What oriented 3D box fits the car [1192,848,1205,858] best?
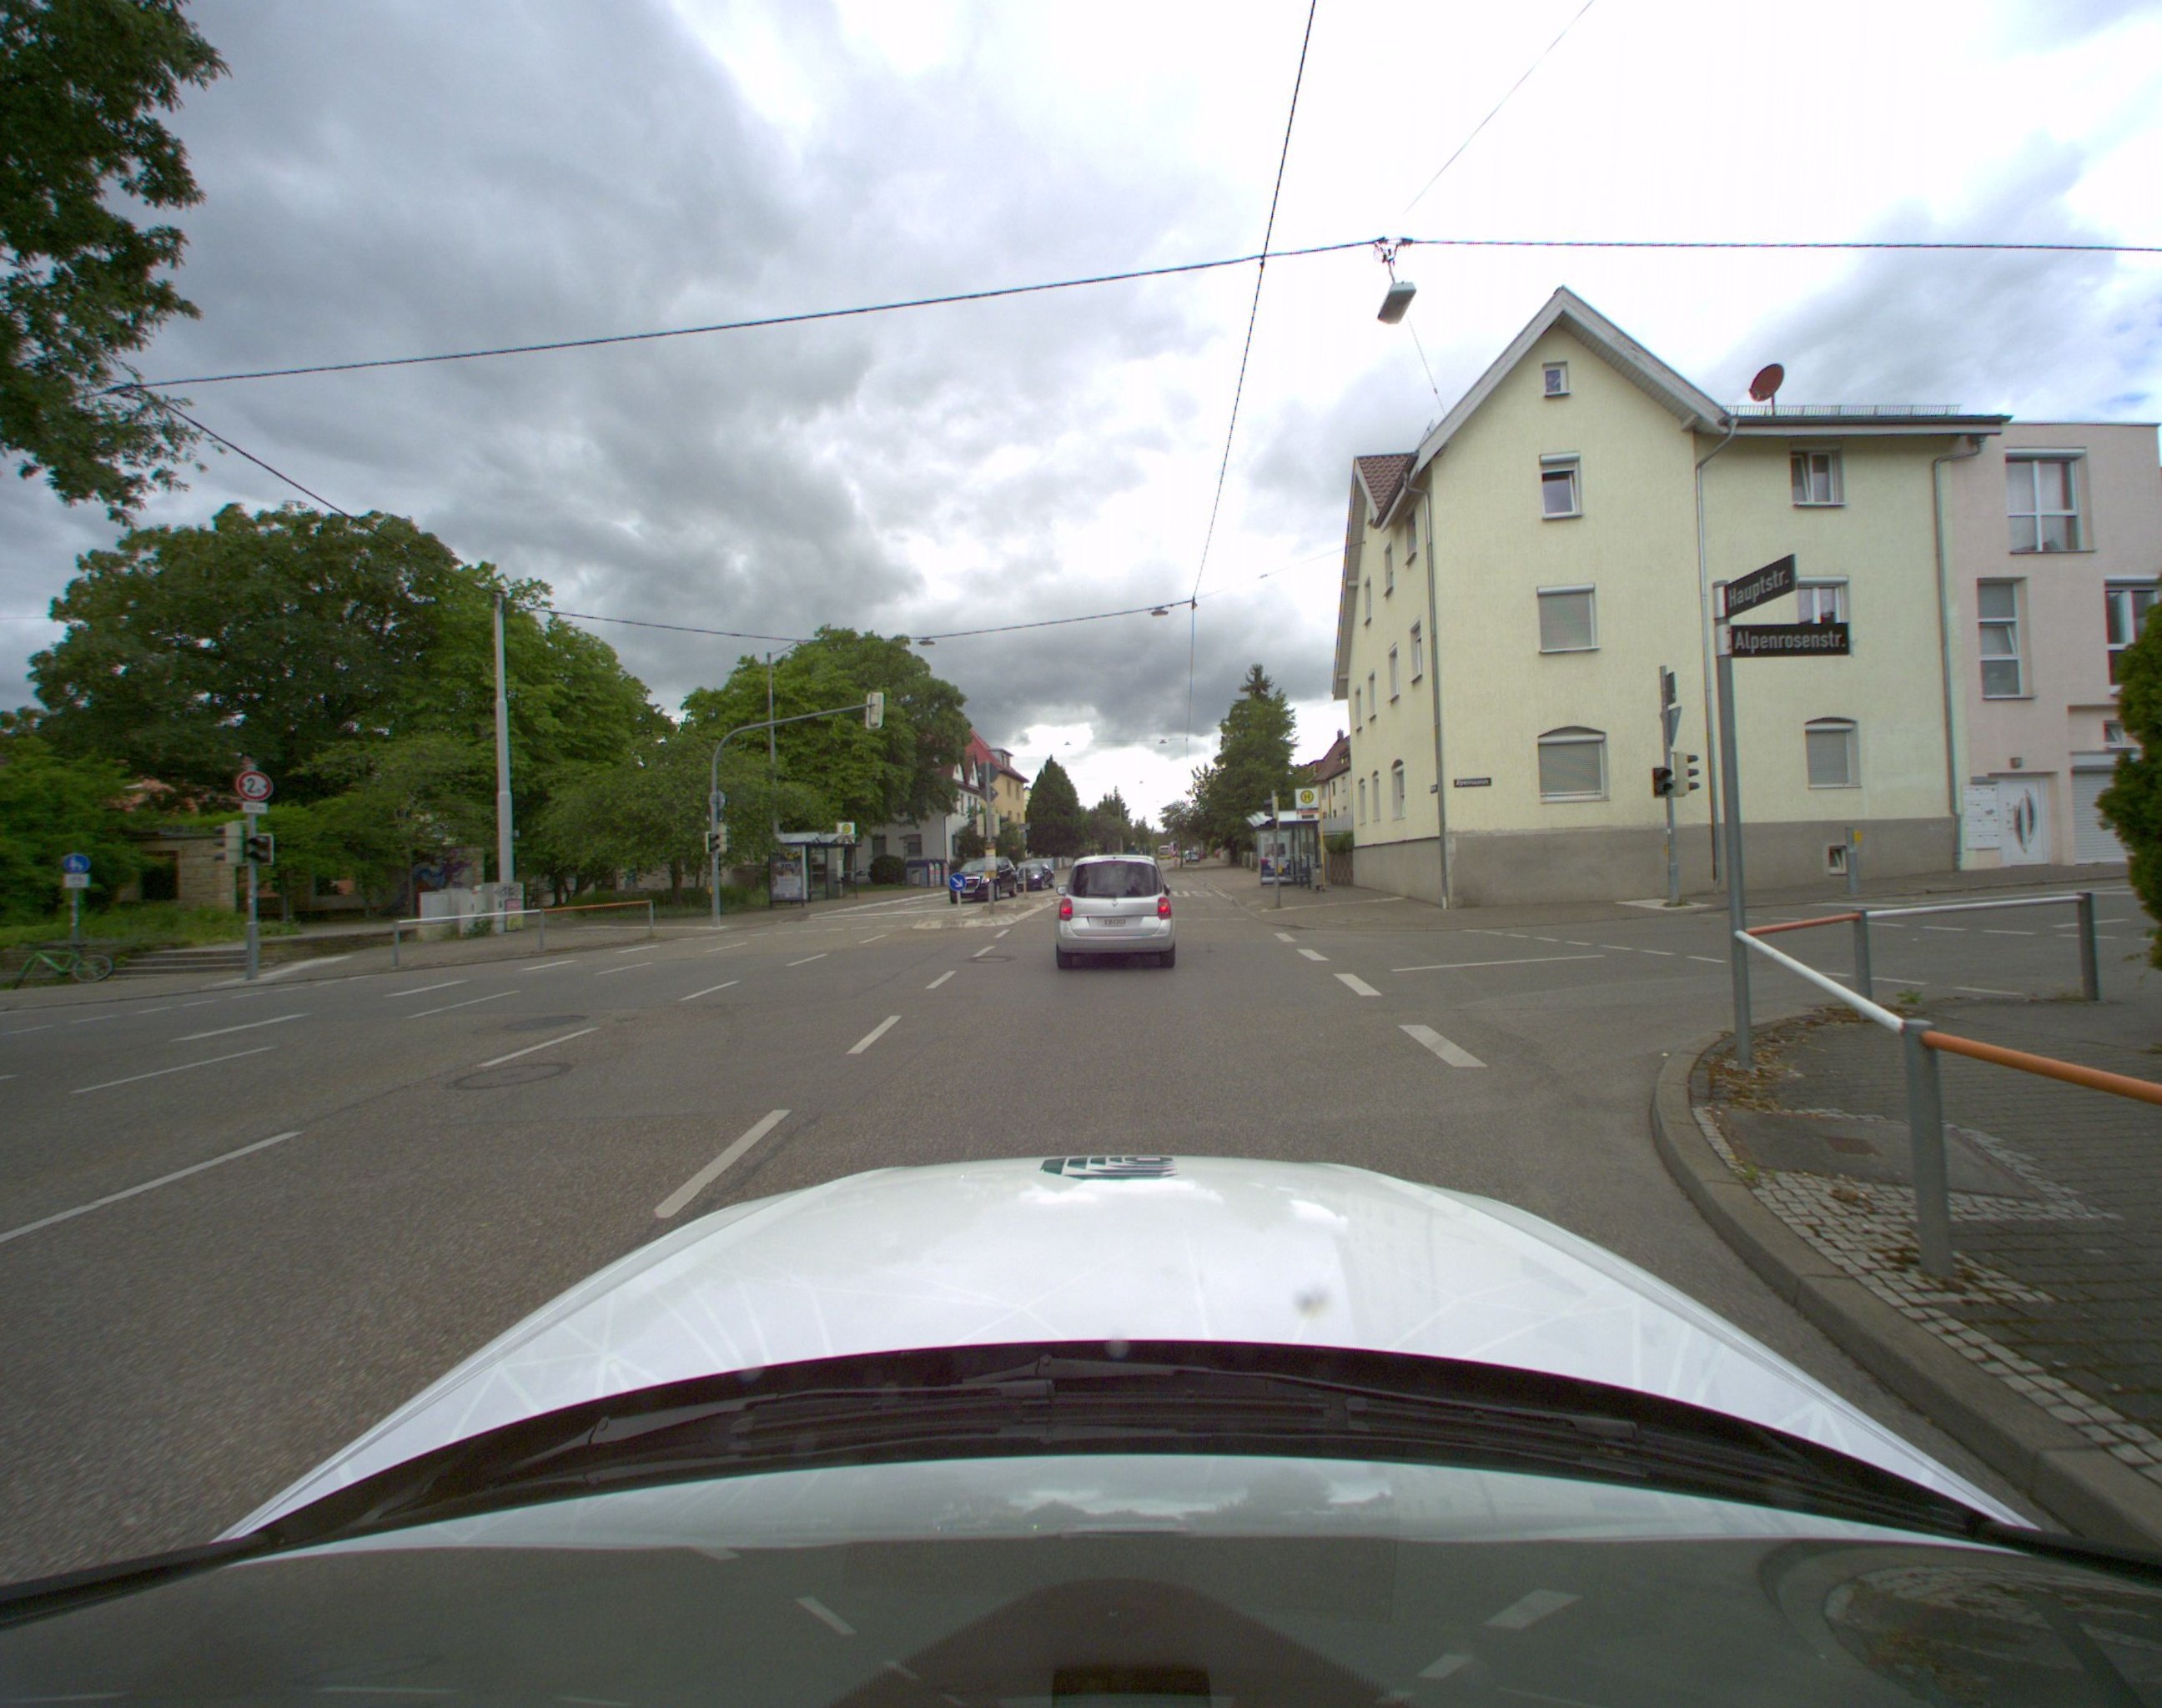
[{"bbox_3d":[17.505,-0.165,121.493,1.652,1.393,3.679,-2,0,11],"label":"car"}]

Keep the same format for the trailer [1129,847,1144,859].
[{"bbox_3d":[9.795,-0.118,143.524,2.299,2.087,5.885,-1,-1,7],"label":"trailer"}]

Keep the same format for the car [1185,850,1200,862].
[{"bbox_3d":[14.047,0.279,102.380,1.640,1.382,4.010,-2,-1,10],"label":"car"}]

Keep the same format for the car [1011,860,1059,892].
[{"bbox_3d":[-2.209,1.046,40.114,1.555,1.420,4.139,-3,-1,8],"label":"car"}]

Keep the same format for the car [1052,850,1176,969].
[{"bbox_3d":[0.477,0.763,12.766,1.624,1.557,4.000,-1,-1,1],"label":"car"}]

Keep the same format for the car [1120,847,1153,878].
[{"bbox_3d":[3.238,0.508,48.165,1.822,1.675,3.576,-2,0,2],"label":"car"}]

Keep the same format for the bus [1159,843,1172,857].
[{"bbox_3d":[20.475,-0.918,197.559,2.617,3.086,12.096,-4,0,8],"label":"bus"}]

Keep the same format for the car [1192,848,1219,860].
[{"bbox_3d":[20.491,0.022,134.065,3.974,1.496,1.810,-5,-1,0],"label":"car"}]

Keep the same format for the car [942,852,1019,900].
[{"bbox_3d":[-3.828,0.830,31.977,1.748,1.635,4.605,-4,-1,8],"label":"car"}]

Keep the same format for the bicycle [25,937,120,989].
[{"bbox_3d":[-22.170,2.389,17.913,1.314,0.942,0.424,-5,0,-10],"label":"bicycle"}]

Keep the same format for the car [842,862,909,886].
[{"bbox_3d":[-13.802,1.335,54.784,3.966,1.332,1.725,-4,-2,6],"label":"car"}]
